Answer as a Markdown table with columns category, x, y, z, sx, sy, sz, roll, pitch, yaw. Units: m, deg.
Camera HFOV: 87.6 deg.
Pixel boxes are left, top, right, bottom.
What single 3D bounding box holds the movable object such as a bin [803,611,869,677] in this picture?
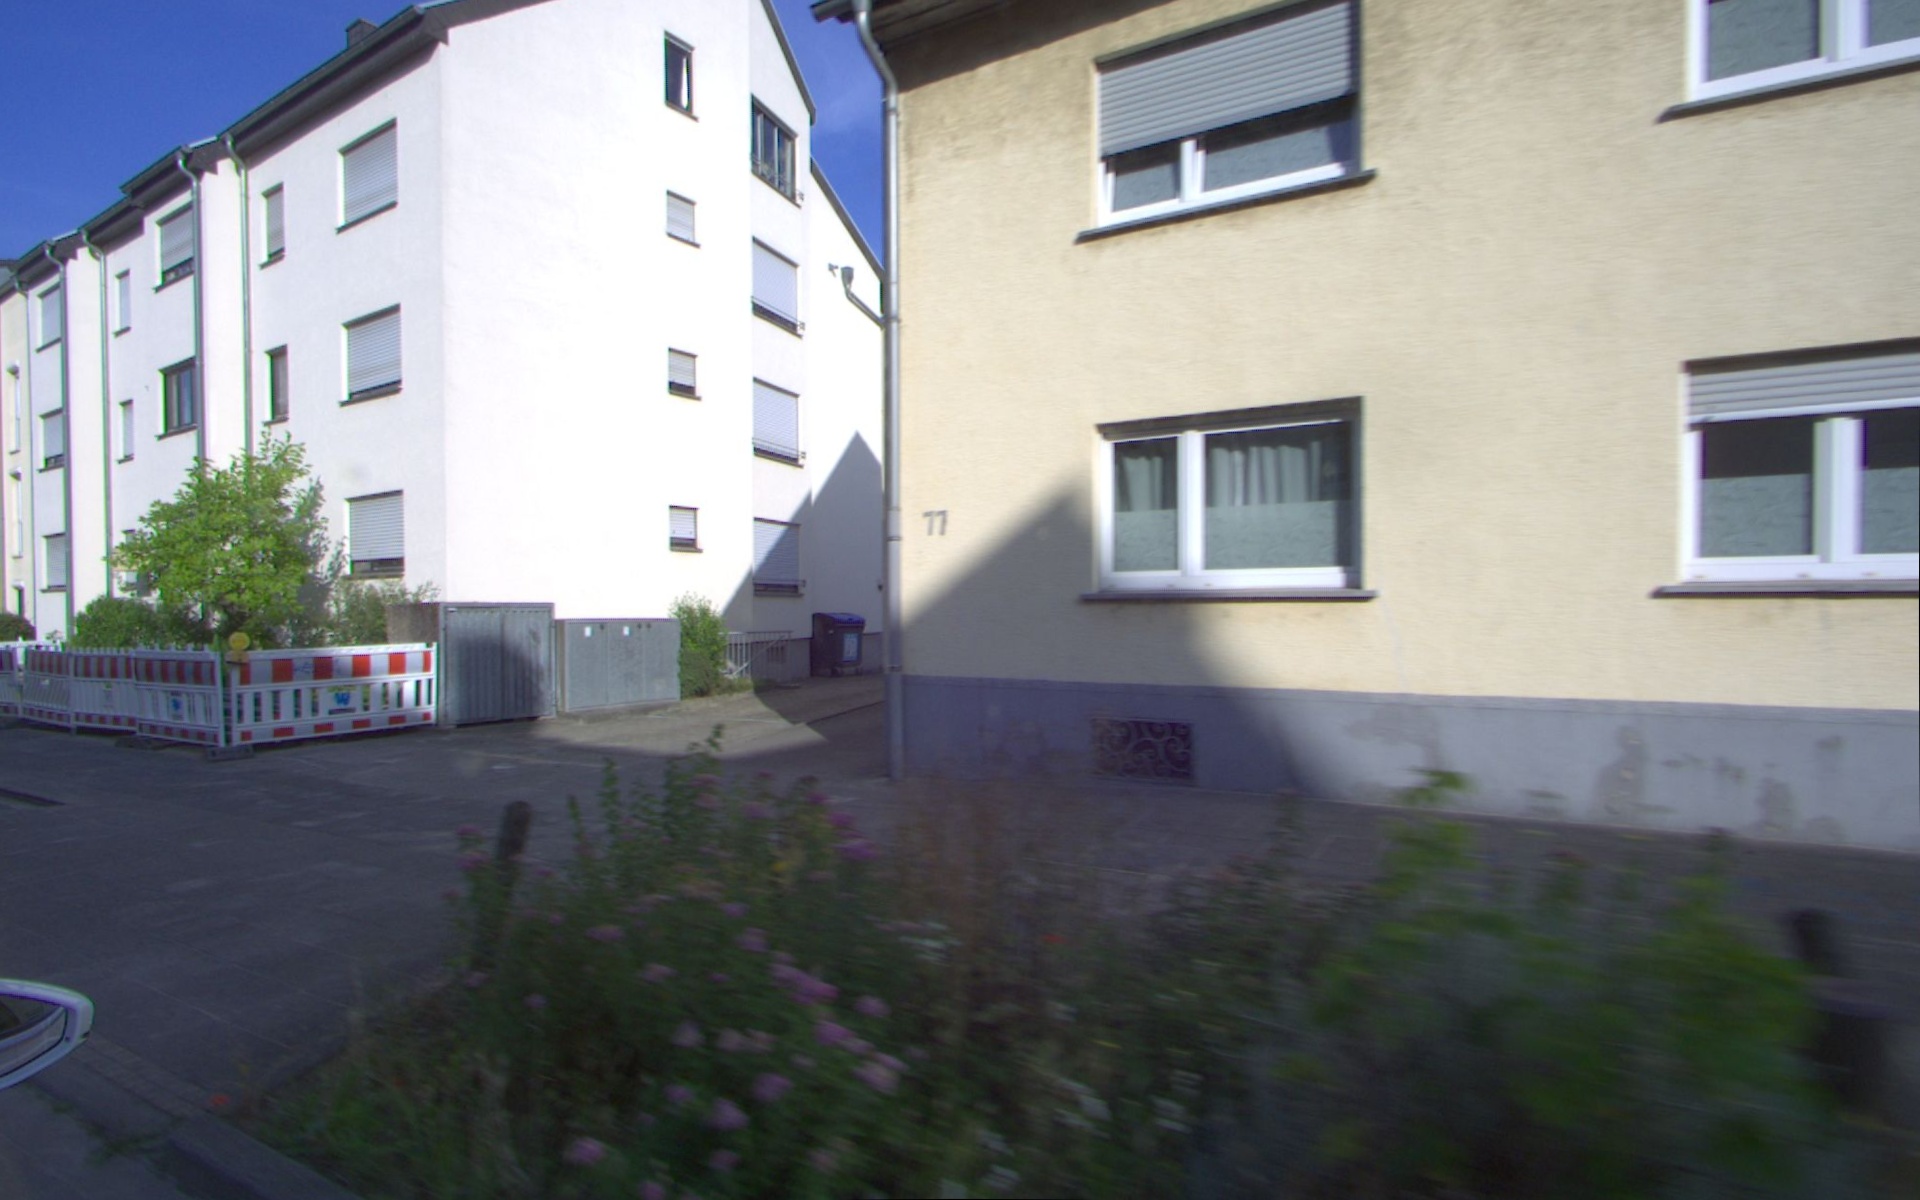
| category | x | y | z | sx | sy | sz | roll | pitch | yaw |
| --- | --- | --- | --- | --- | --- | --- | --- | --- | --- |
| movable object such as a bin | -2.849 | 1.005 | 23.077 | 1.155 | 1.476 | 1.136 | 0 | 0 | 17 |
